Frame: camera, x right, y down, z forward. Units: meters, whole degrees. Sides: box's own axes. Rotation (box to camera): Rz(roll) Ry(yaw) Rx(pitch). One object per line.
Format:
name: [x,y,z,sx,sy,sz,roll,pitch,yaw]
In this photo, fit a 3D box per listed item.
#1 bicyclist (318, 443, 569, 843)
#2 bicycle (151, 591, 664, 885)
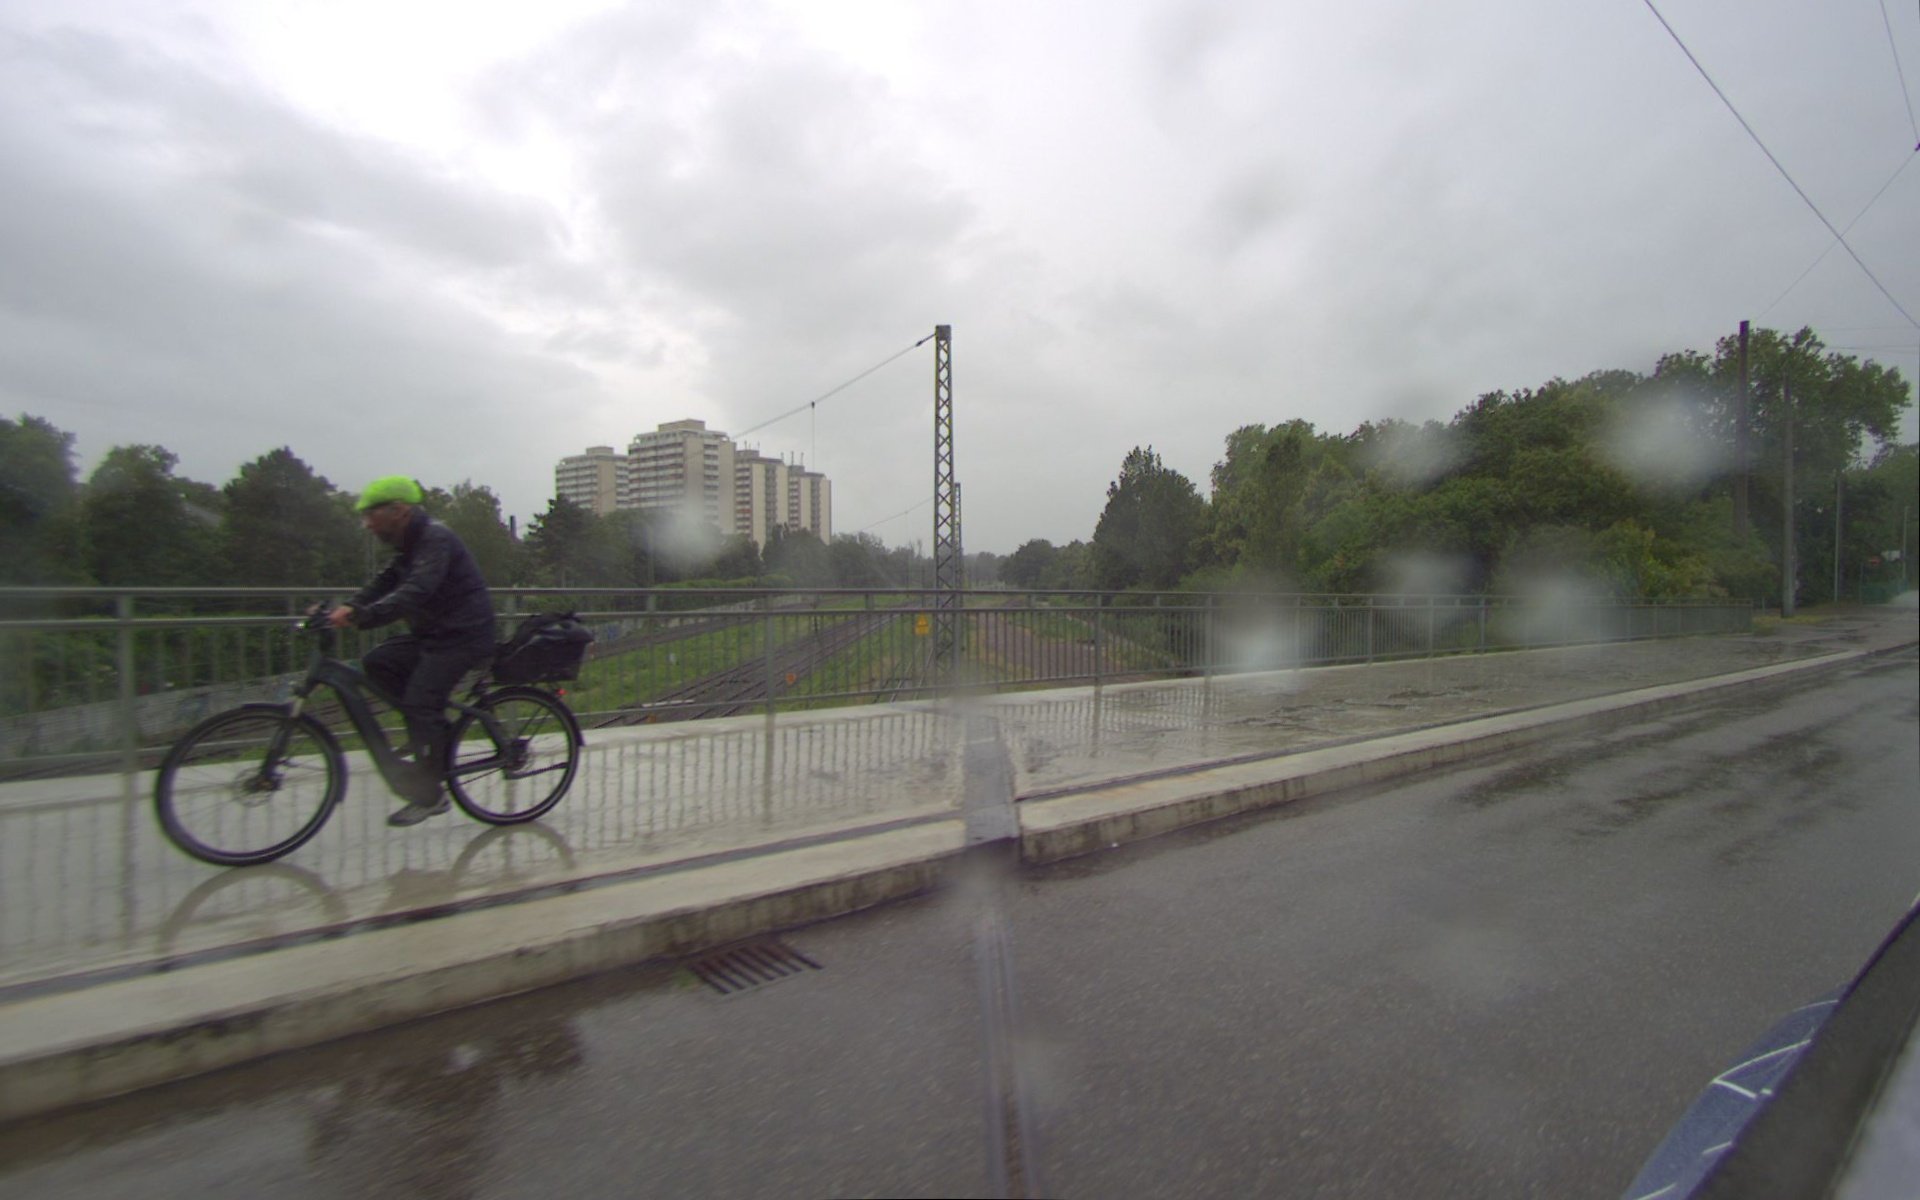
bicyclist: [-2.598,0.175,5.094,0.933,1.785,0.727,-2,1,-40]
bicycle: [-2.650,0.550,5.046,2.130,1.143,0.724,-2,0,-41]
